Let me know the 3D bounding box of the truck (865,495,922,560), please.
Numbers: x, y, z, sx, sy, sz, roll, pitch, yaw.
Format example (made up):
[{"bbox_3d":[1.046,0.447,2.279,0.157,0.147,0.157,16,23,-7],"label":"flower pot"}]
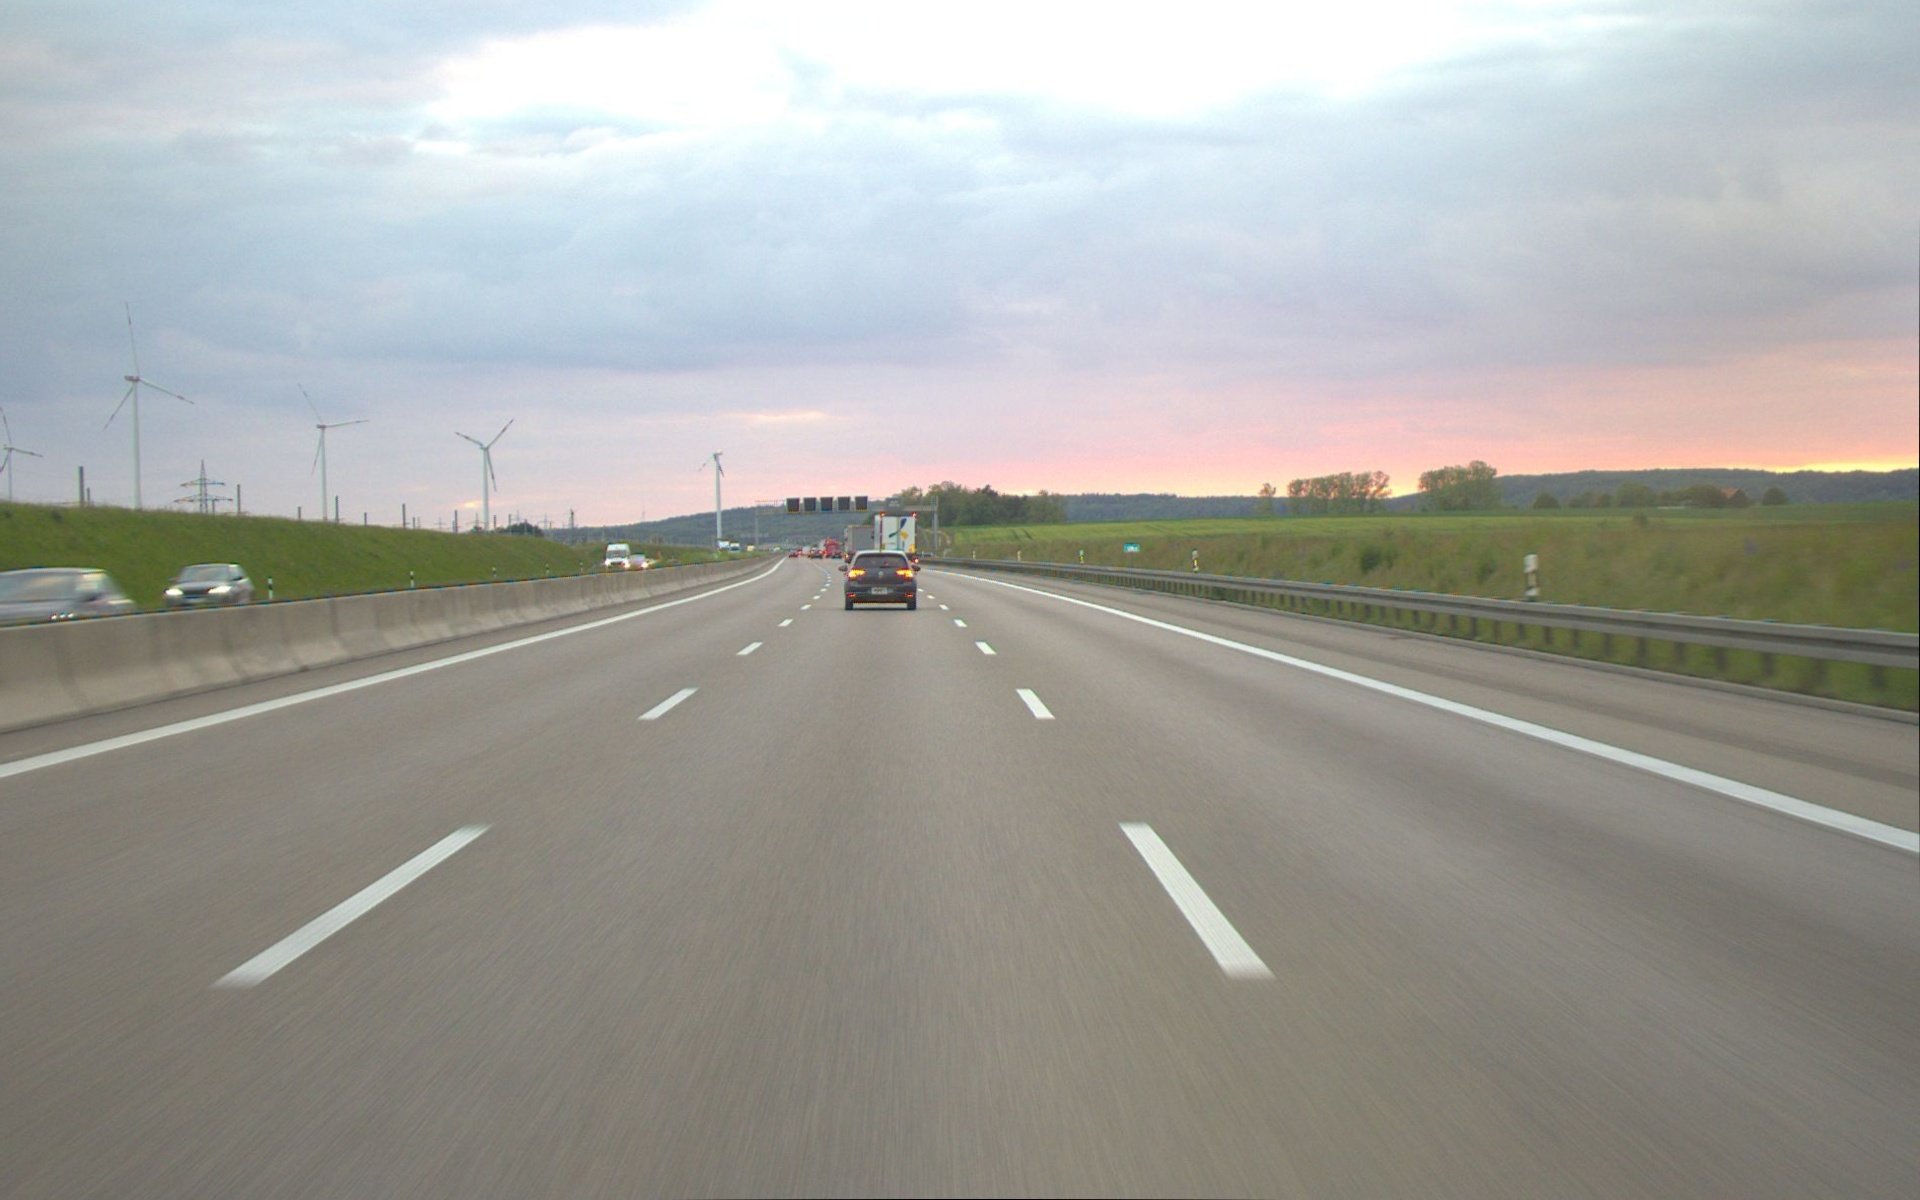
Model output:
[{"bbox_3d":[-4.896,-5.228,249.936,3.675,4.549,10.982,-2,1,-3],"label":"truck"}]

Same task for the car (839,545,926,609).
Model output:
[{"bbox_3d":[-1.848,-0.573,83.591,1.987,1.425,4.000,-2,1,0],"label":"car"}]

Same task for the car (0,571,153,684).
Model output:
[{"bbox_3d":[-12.388,0.347,46.910,1.746,1.380,4.495,-2,1,-1],"label":"car"}]

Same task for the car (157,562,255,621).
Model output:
[{"bbox_3d":[-21.355,-0.264,97.495,1.861,1.548,4.582,-2,1,-2],"label":"car"}]
